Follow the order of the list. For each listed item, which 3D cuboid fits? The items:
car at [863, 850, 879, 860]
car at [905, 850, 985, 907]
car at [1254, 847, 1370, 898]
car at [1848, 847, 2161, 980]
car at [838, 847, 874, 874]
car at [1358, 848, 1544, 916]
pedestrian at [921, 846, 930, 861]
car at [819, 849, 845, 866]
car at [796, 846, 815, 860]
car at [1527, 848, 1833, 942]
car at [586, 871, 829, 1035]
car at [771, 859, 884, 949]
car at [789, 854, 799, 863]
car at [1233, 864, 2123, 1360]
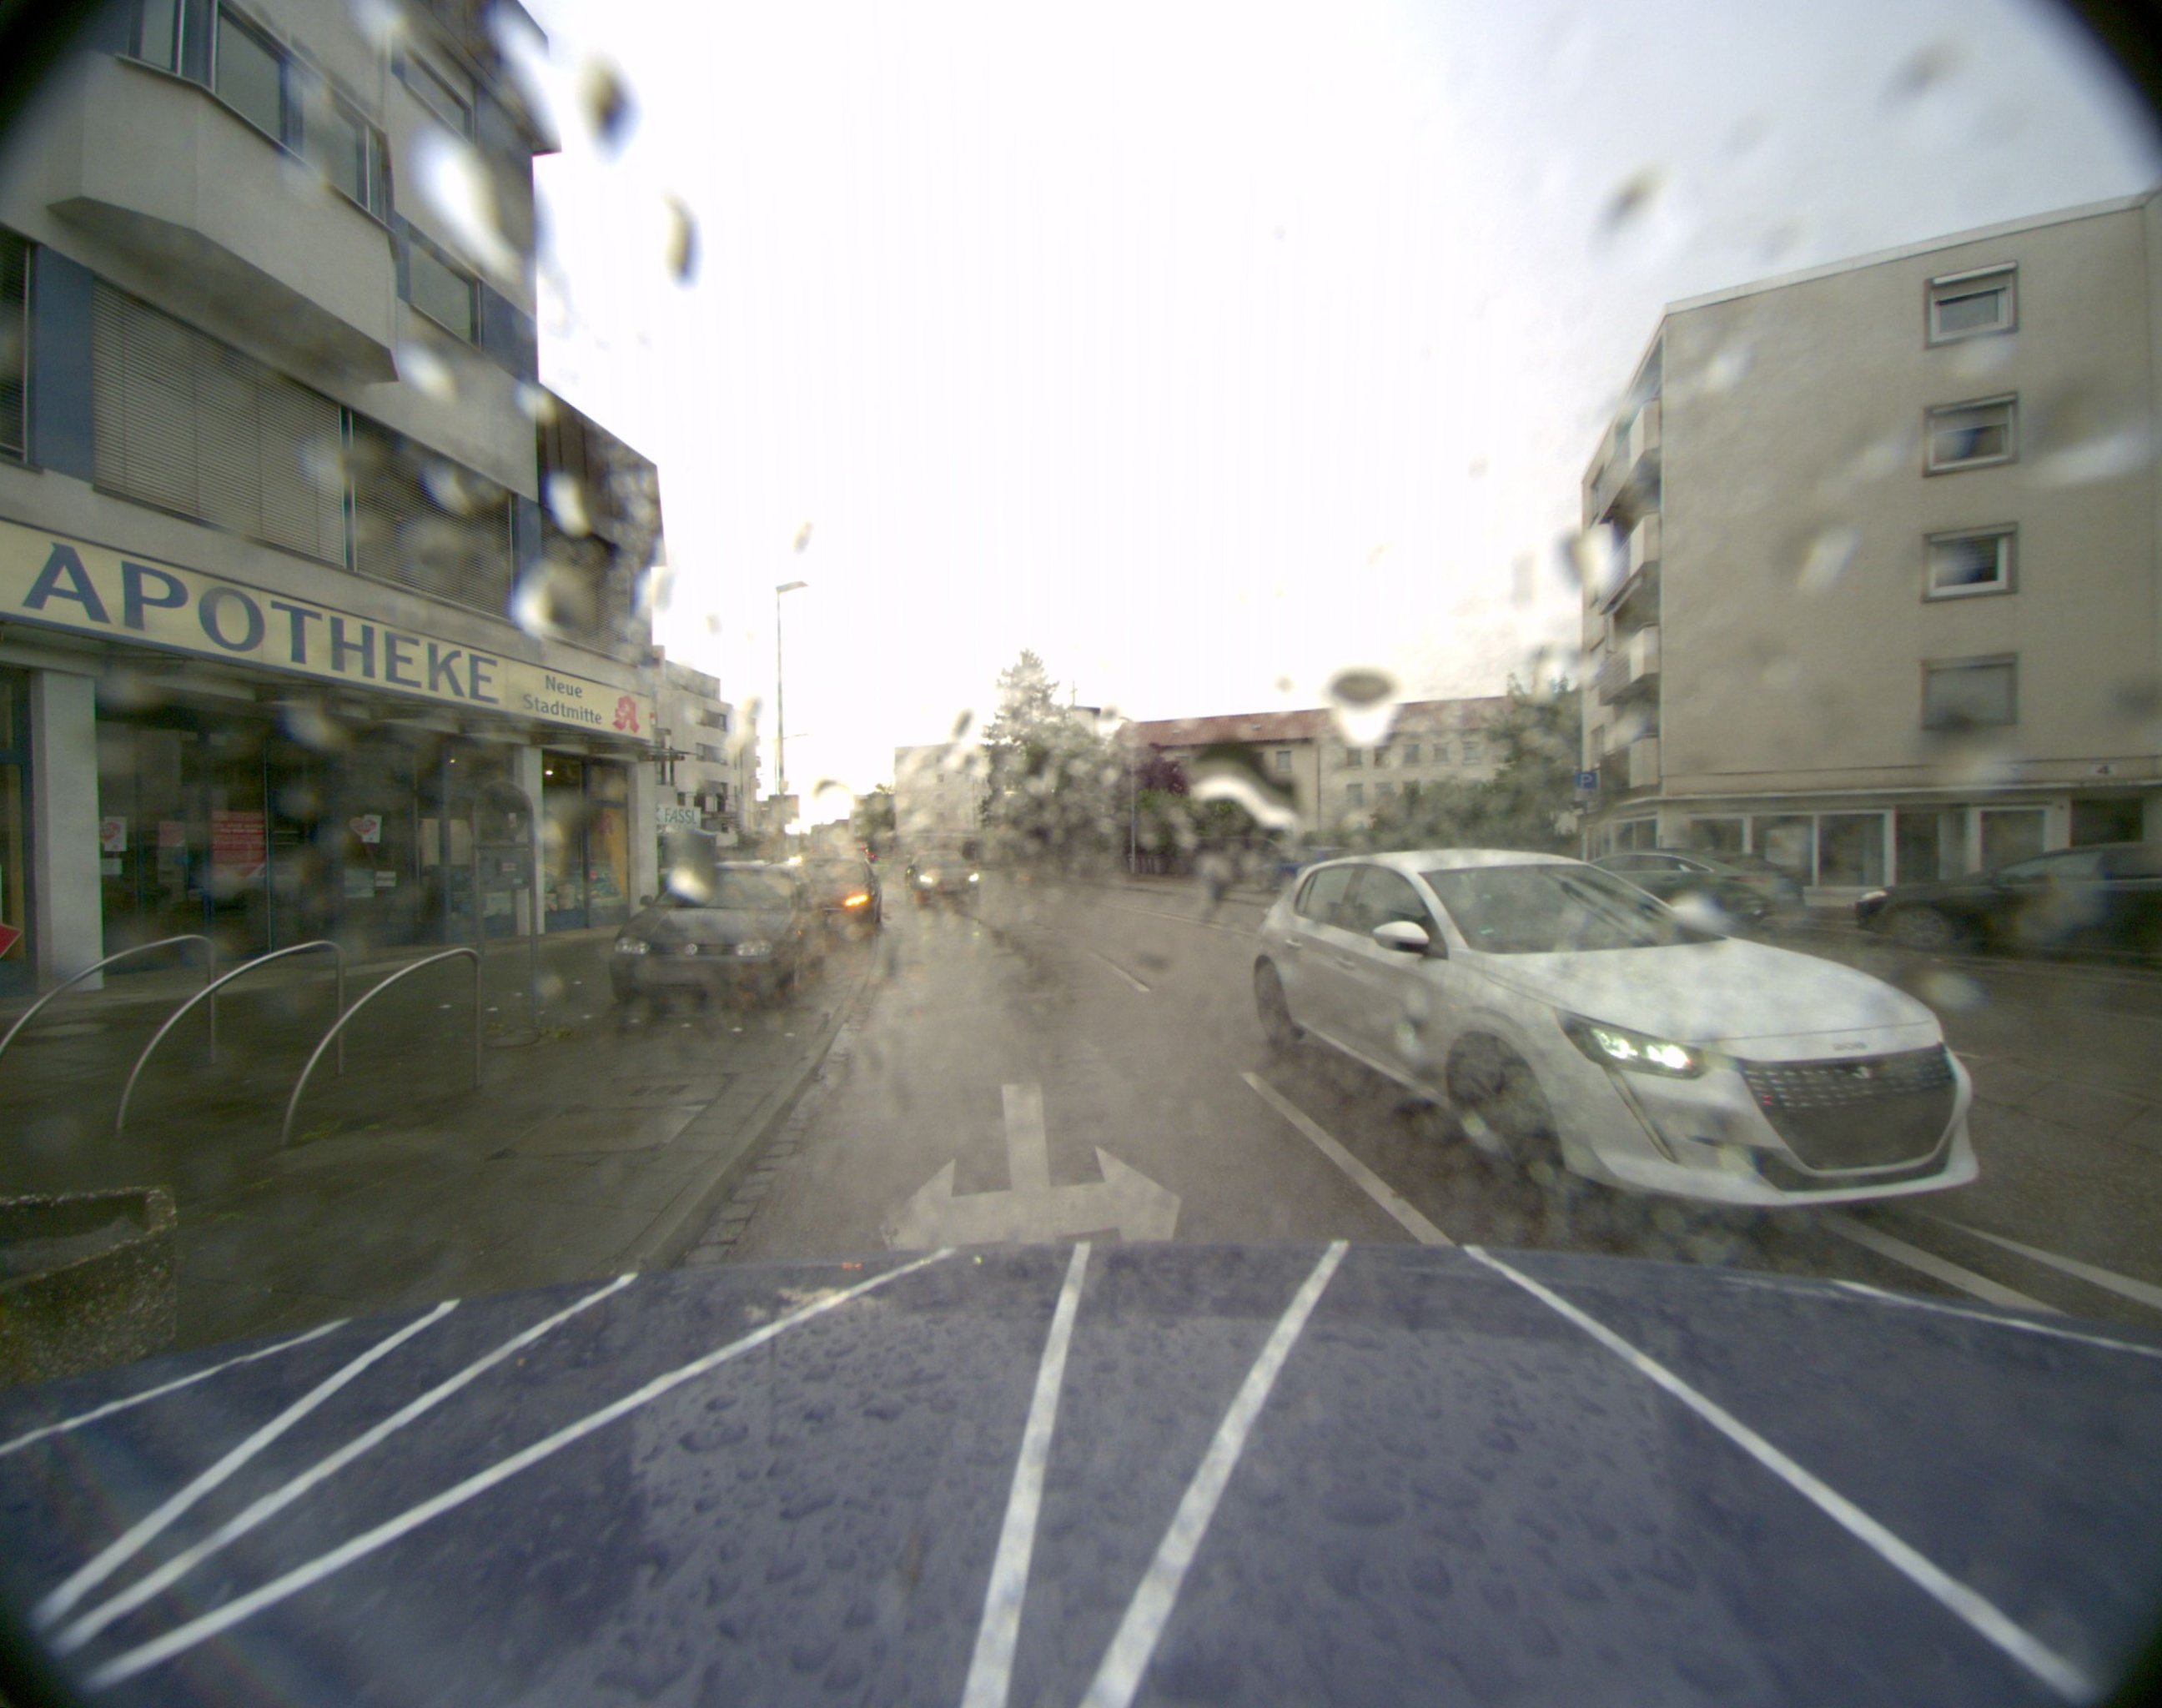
[{"bbox_3d":[-29.727,0.141,107.647,1.874,1.428,3.733,-1,1,-20],"label":"car"},{"bbox_3d":[-4.181,0.661,22.891,1.737,1.436,4.039,-2,2,-19],"label":"car"},{"bbox_3d":[7.416,0.532,24.772,1.636,1.497,3.873,-1,1,-20],"label":"car"},{"bbox_3d":[12.928,0.672,9.599,1.839,1.451,4.180,-2,2,-21],"label":"car"},{"bbox_3d":[-13.410,0.359,45.117,1.736,1.519,4.056,-1,0,-21],"label":"car"},{"bbox_3d":[9.286,0.627,19.513,1.639,1.491,4.338,-1,1,-21],"label":"car"},{"bbox_3d":[-18.763,-0.072,91.732,0.857,1.726,0.834,-1,2,-29],"label":"pedestrian"},{"bbox_3d":[-22.093,0.317,67.286,1.804,1.361,3.964,-1,2,-24],"label":"car"},{"bbox_3d":[-33.958,-0.073,93.709,2.002,1.606,3.993,-3,1,-20],"label":"car"},{"bbox_3d":[11.152,0.644,14.566,1.839,1.426,4.266,-2,2,-21],"label":"car"},{"bbox_3d":[-3.998,0.946,8.782,1.656,1.364,3.727,1,0,-12],"label":"car"},{"bbox_3d":[-4.794,0.855,14.854,1.660,1.416,3.995,-1,1,-12],"label":"car"},{"bbox_3d":[-55.911,0.850,147.900,1.747,1.630,3.992,-1,1,-21],"label":"car"},{"bbox_3d":[2.433,0.830,4.414,1.744,1.401,3.892,-3,1,-9],"label":"car"}]
